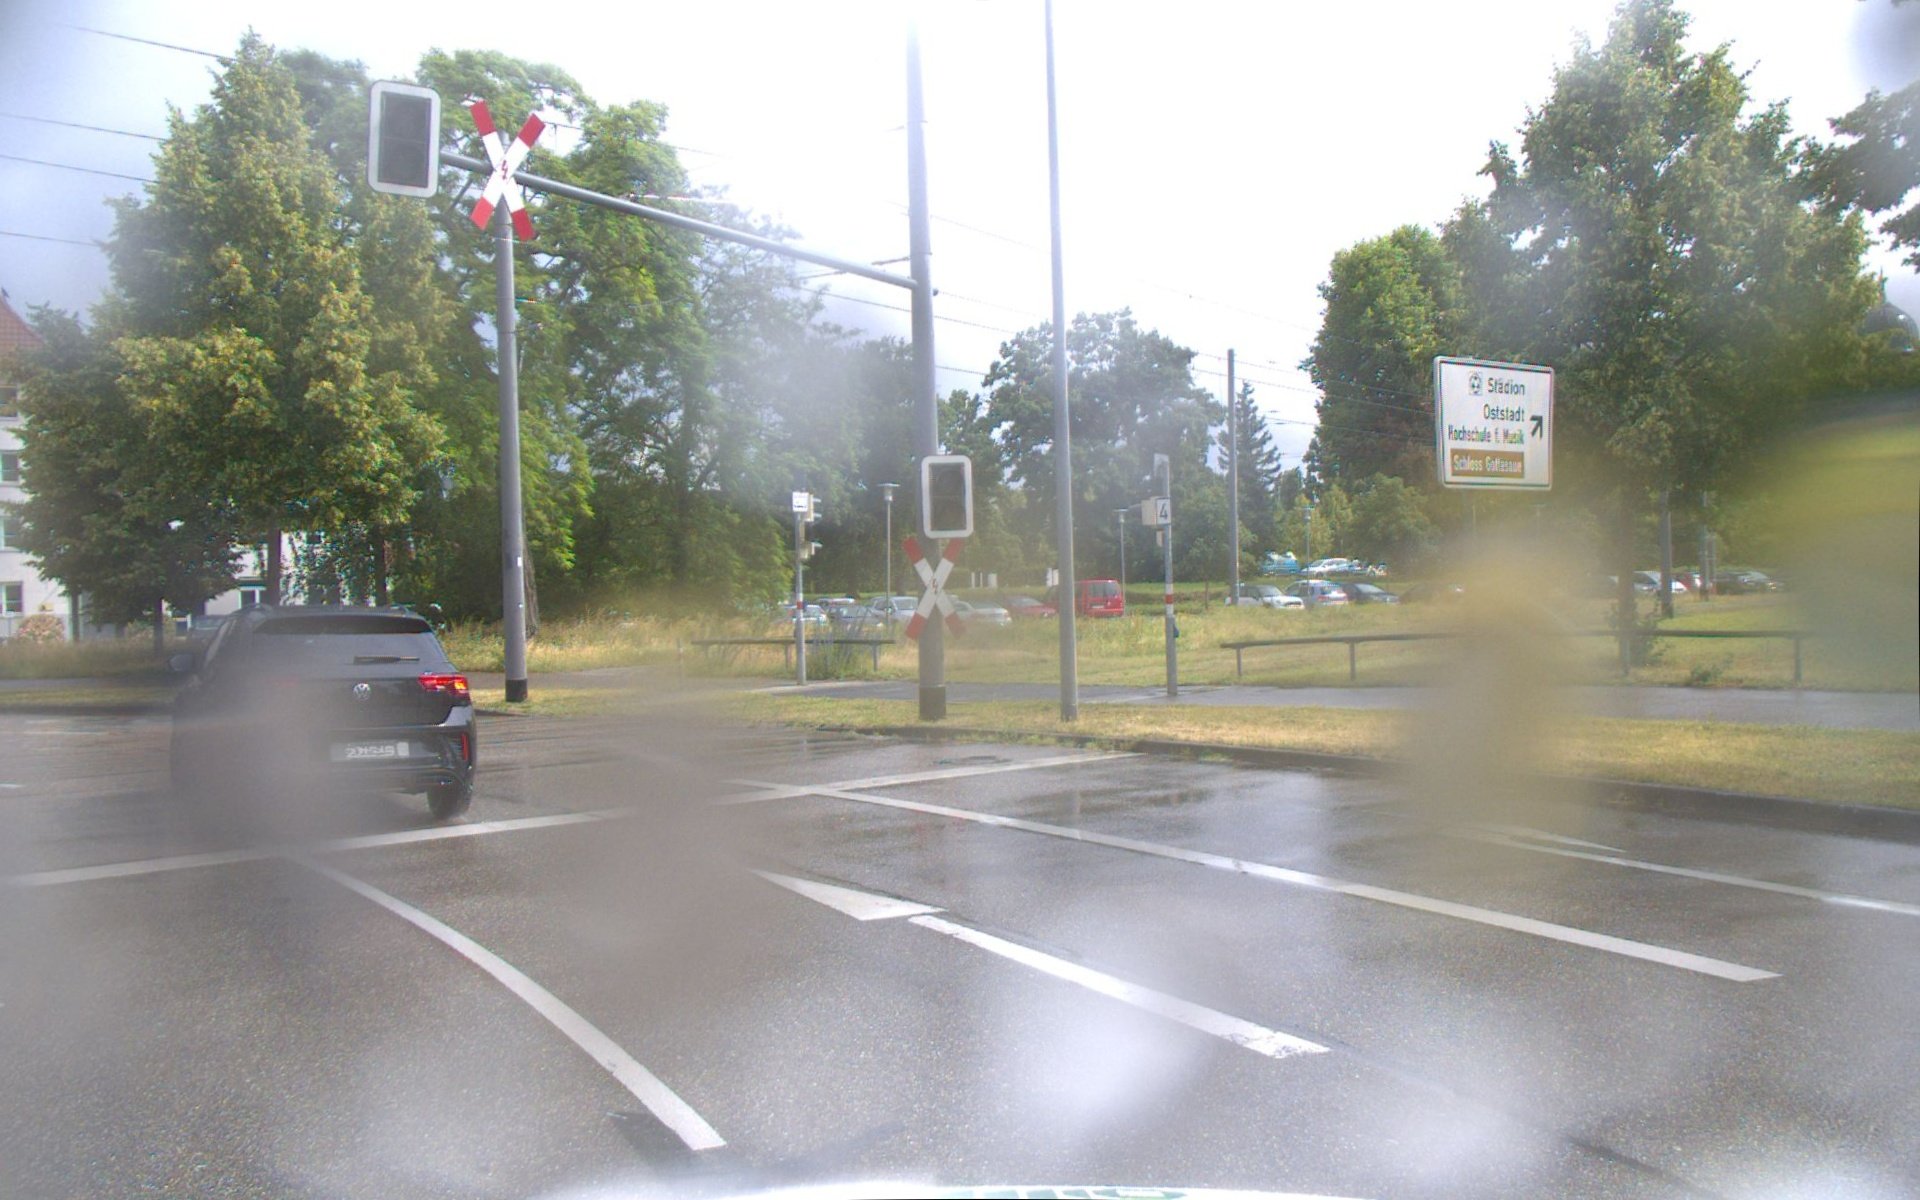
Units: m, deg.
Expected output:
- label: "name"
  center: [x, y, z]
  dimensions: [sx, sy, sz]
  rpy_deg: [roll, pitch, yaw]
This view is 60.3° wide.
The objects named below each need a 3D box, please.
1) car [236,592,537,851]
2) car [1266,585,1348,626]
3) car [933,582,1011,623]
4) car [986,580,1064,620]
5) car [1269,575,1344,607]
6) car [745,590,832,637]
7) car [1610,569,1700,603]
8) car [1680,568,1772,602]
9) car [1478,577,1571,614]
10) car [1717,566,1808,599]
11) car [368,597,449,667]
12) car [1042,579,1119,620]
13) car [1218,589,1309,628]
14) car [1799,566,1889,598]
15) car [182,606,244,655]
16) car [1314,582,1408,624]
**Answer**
- label: "car"
  center: [-4.639, 0.834, 13.014]
  dimensions: [1.873, 1.646, 3.969]
  rpy_deg: [-2, -1, -24]
- label: "car"
  center: [15.062, 0.268, 71.902]
  dimensions: [1.527, 1.689, 3.597]
  rpy_deg: [-2, 0, -27]
- label: "car"
  center: [0.442, 0.117, 63.588]
  dimensions: [1.619, 1.487, 3.583]
  rpy_deg: [-2, 0, -24]
- label: "car"
  center: [2.530, 0.009, 64.984]
  dimensions: [1.619, 1.487, 3.583]
  rpy_deg: [-2, 0, -24]
- label: "car"
  center: [18.286, -0.452, 87.437]
  dimensions: [1.772, 1.554, 3.964]
  rpy_deg: [-2, 0, -27]
- label: "car"
  center: [-6.254, 0.501, 59.927]
  dimensions: [1.823, 1.587, 3.943]
  rpy_deg: [-2, 0, -27]
- label: "car"
  center: [34.973, -0.681, 83.346]
  dimensions: [1.823, 1.587, 3.943]
  rpy_deg: [-2, 0, -27]
- label: "car"
  center: [38.972, -0.762, 84.217]
  dimensions: [1.823, 1.587, 3.943]
  rpy_deg: [-2, 0, -27]
- label: "car"
  center: [26.446, -0.187, 77.610]
  dimensions: [1.823, 1.587, 3.943]
  rpy_deg: [-2, 0, -27]
- label: "car"
  center: [41.754, -0.891, 86.168]
  dimensions: [1.823, 1.587, 3.943]
  rpy_deg: [-2, 0, -27]
- label: "car"
  center: [-18.276, 1.003, 54.671]
  dimensions: [2.078, 2.093, 5.124]
  rpy_deg: [-3, 1, -23]
- label: "car"
  center: [4.785, -0.020, 66.046]
  dimensions: [1.622, 1.536, 3.626]
  rpy_deg: [-2, 0, -22]
- label: "car"
  center: [12.968, 0.394, 70.880]
  dimensions: [1.772, 1.554, 3.964]
  rpy_deg: [-2, 0, -27]
- label: "car"
  center: [47.652, -0.944, 89.227]
  dimensions: [1.823, 1.587, 3.943]
  rpy_deg: [-2, 0, -27]
- label: "car"
  center: [-28.022, 1.119, 62.011]
  dimensions: [1.825, 1.579, 4.068]
  rpy_deg: [-2, 3, -28]
- label: "car"
  center: [17.686, 0.164, 73.068]
  dimensions: [1.969, 1.744, 3.966]
  rpy_deg: [-2, 0, -26]
